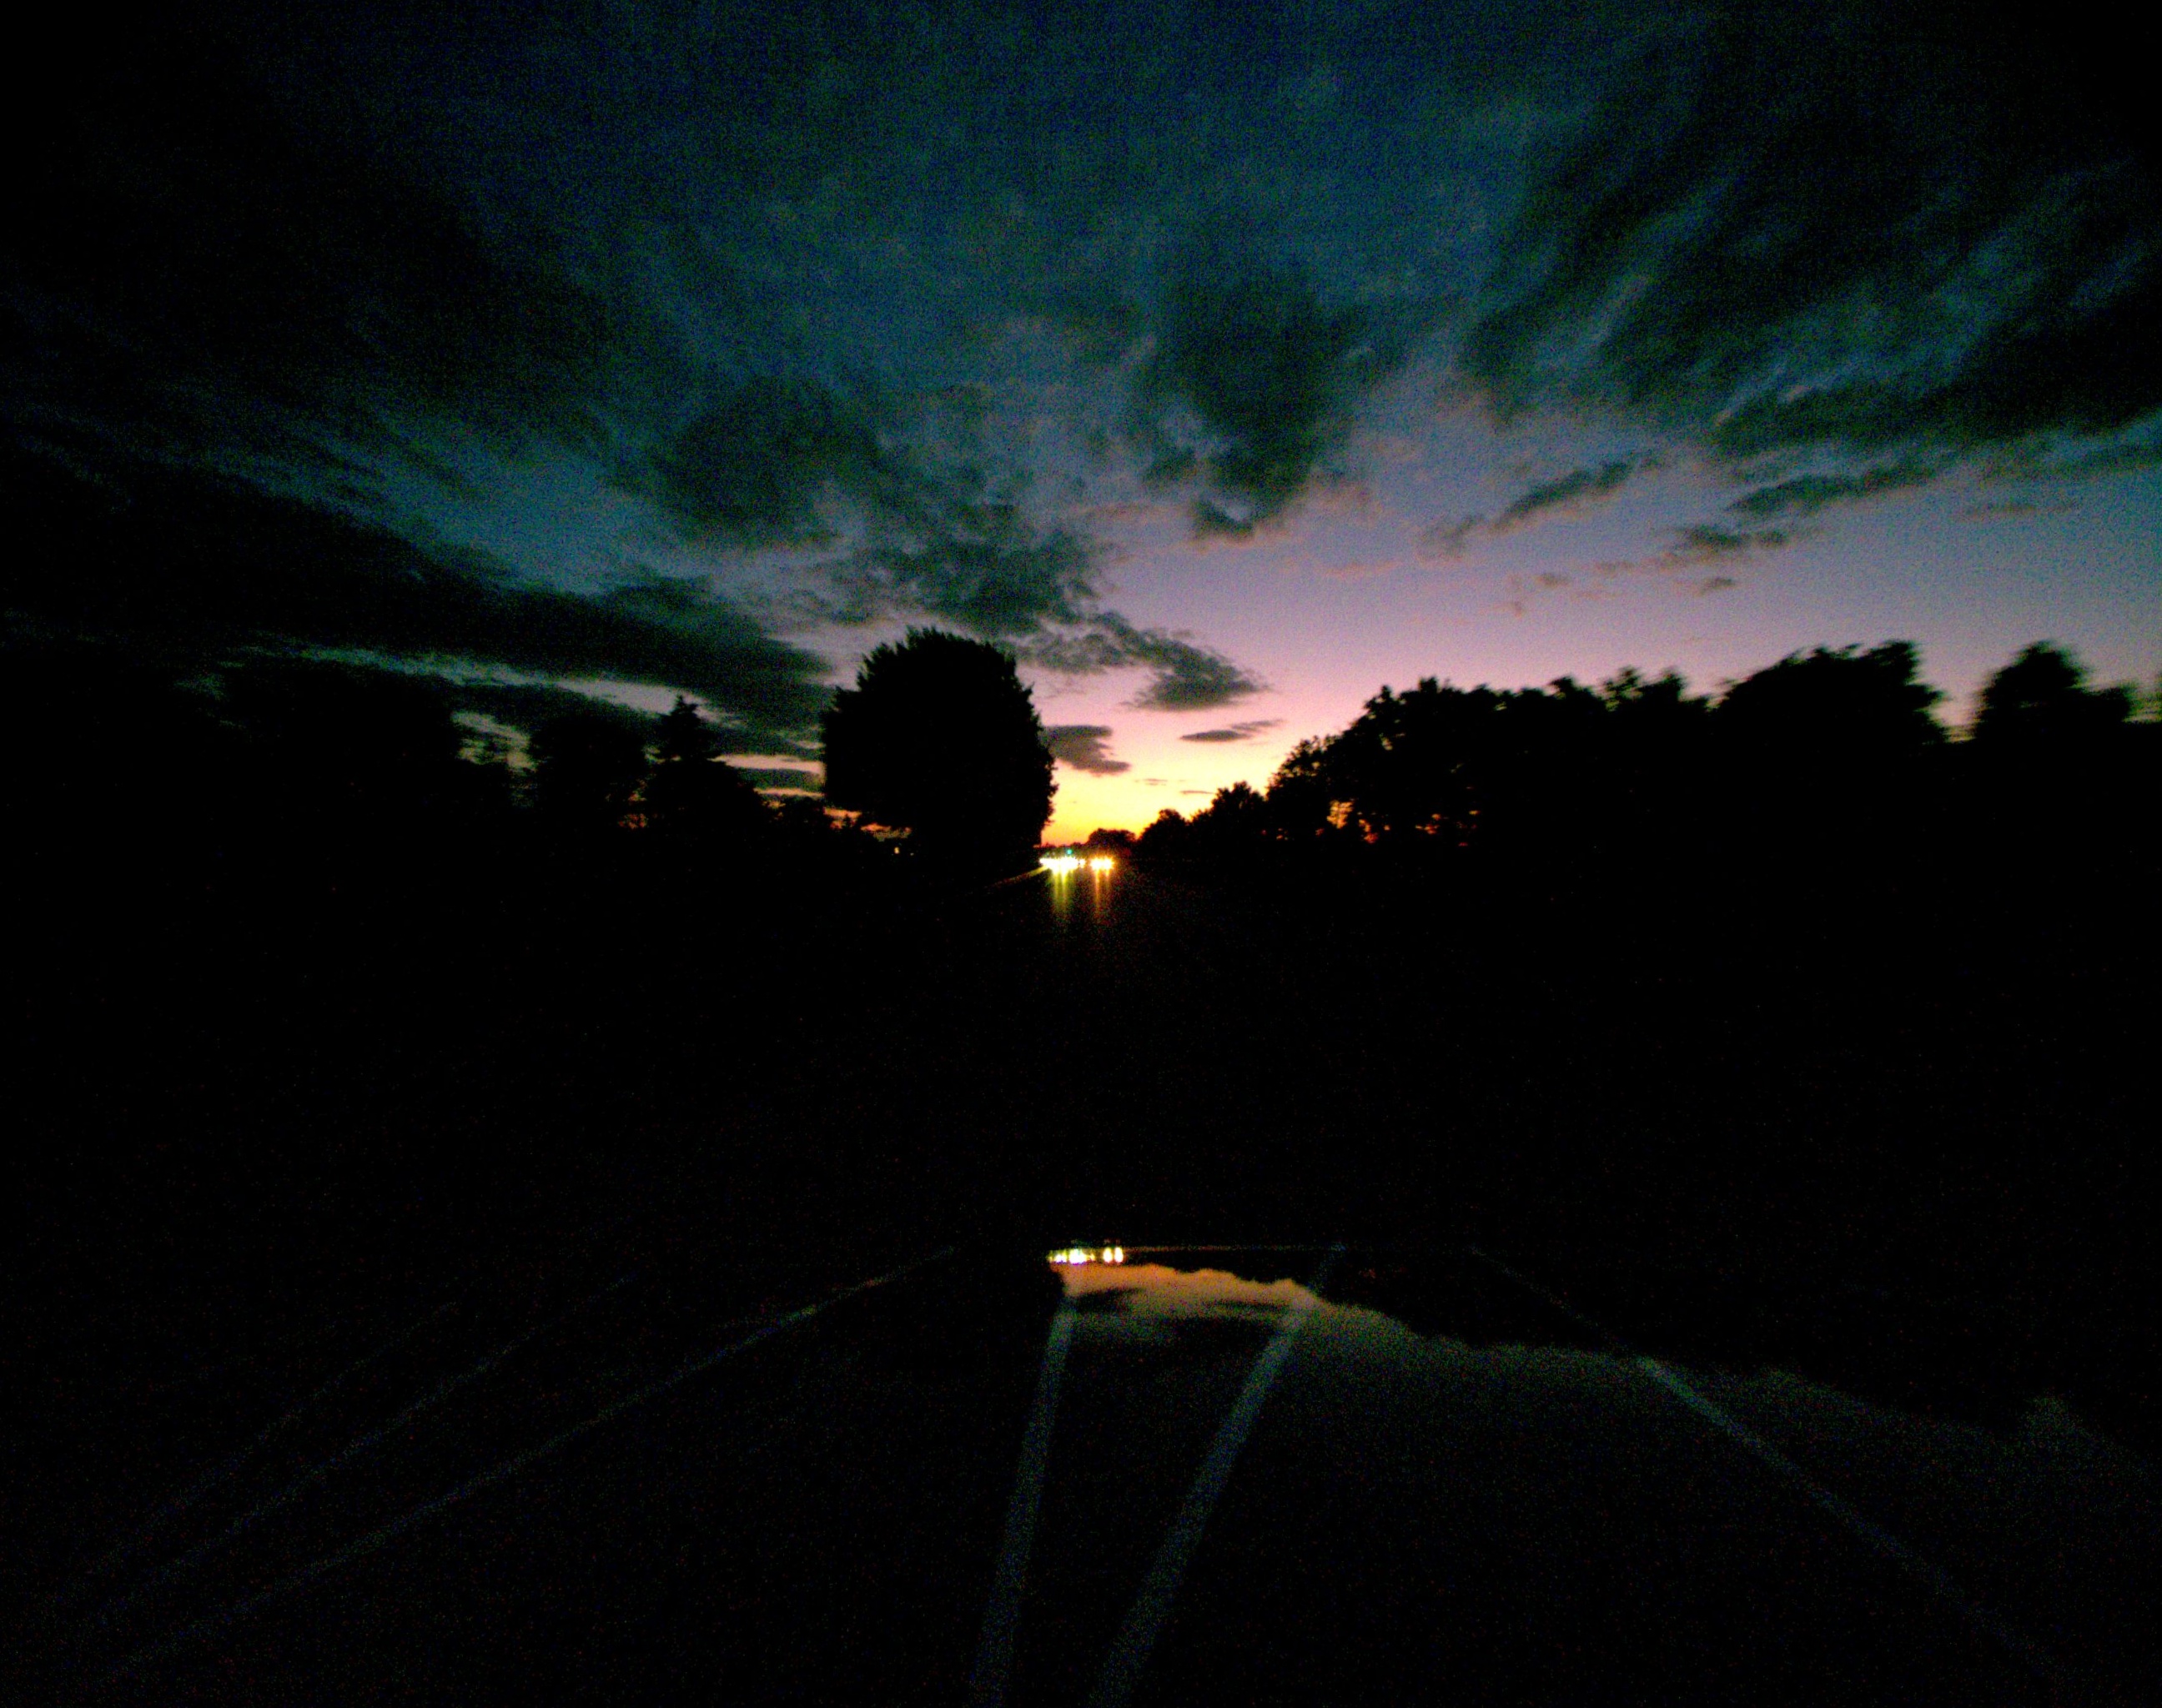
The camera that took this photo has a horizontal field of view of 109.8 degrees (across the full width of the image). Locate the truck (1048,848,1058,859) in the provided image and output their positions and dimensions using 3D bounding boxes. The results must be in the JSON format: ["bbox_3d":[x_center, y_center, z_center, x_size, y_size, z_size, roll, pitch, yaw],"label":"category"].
[{"bbox_3d":[-9.557,-0.145,258.863,3.016,3.674,9.056,-2,0,-2],"label":"truck"}]

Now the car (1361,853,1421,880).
[{"bbox_3d":[16.662,0.649,41.021,1.633,1.315,3.940,-2,0,1],"label":"car"}]

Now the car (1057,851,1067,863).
[{"bbox_3d":[-3.424,0.550,139.293,1.741,2.002,4.000,-2,0,-1],"label":"car"}]

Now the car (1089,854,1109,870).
[{"bbox_3d":[1.987,0.855,83.794,1.999,1.635,4.296,-2,0,-1],"label":"car"}]

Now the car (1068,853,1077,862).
[{"bbox_3d":[-2.190,0.901,193.057,1.999,2.002,3.999,-2,0,-1],"label":"car"}]

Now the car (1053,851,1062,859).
[{"bbox_3d":[-5.807,0.181,186.464,1.999,2.002,3.999,-2,0,-2],"label":"car"}]

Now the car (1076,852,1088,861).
[{"bbox_3d":[0.142,0.456,146.830,1.999,1.778,3.999,-2,0,-3],"label":"car"}]
